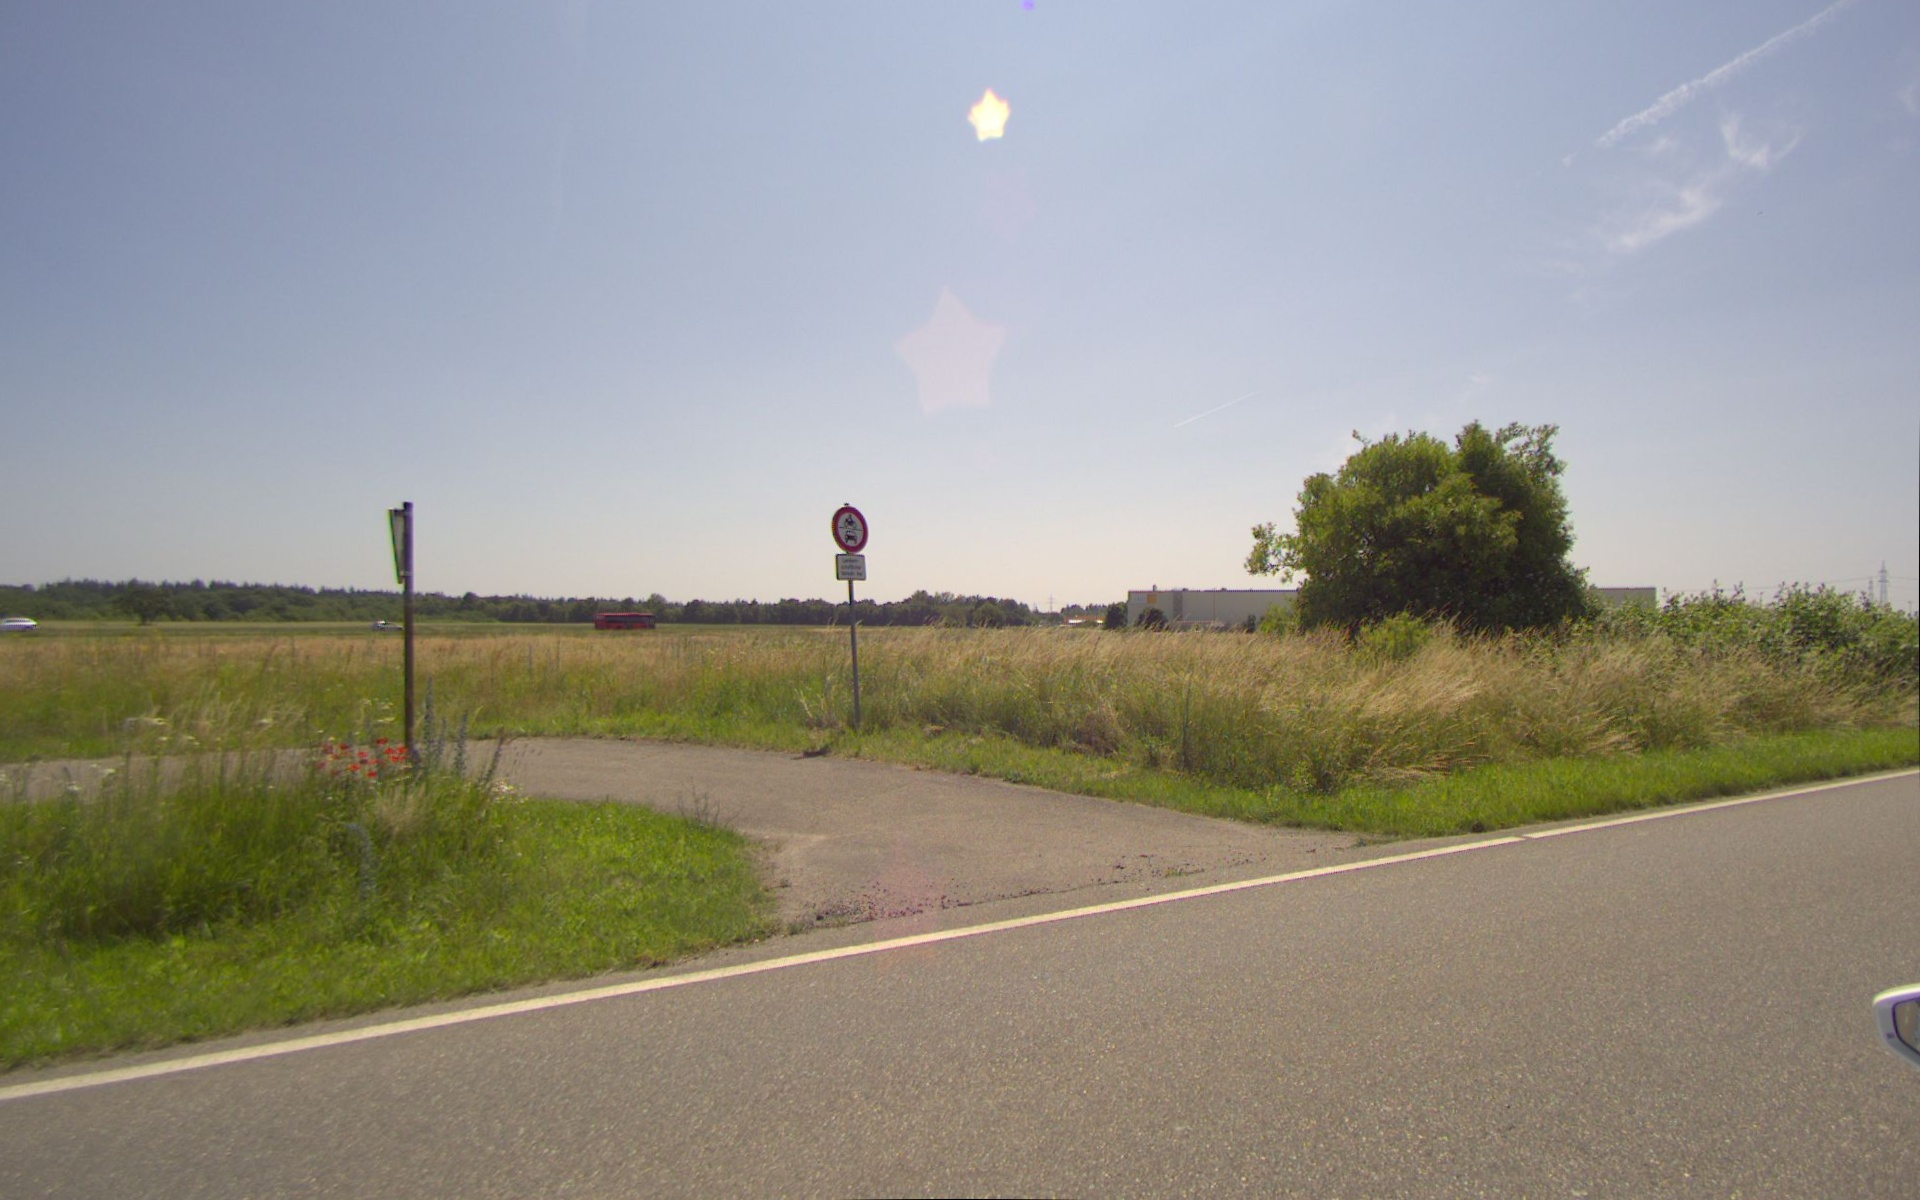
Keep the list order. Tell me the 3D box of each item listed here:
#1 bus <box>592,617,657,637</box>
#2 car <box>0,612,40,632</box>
[{"bbox_3d":[-58.252,4.672,174.720,3.252,3.352,11.979,0,-2,26],"label":"bus"},{"bbox_3d":[-98.000,2.261,103.562,1.964,2.040,4.222,0,-1,30],"label":"car"}]
